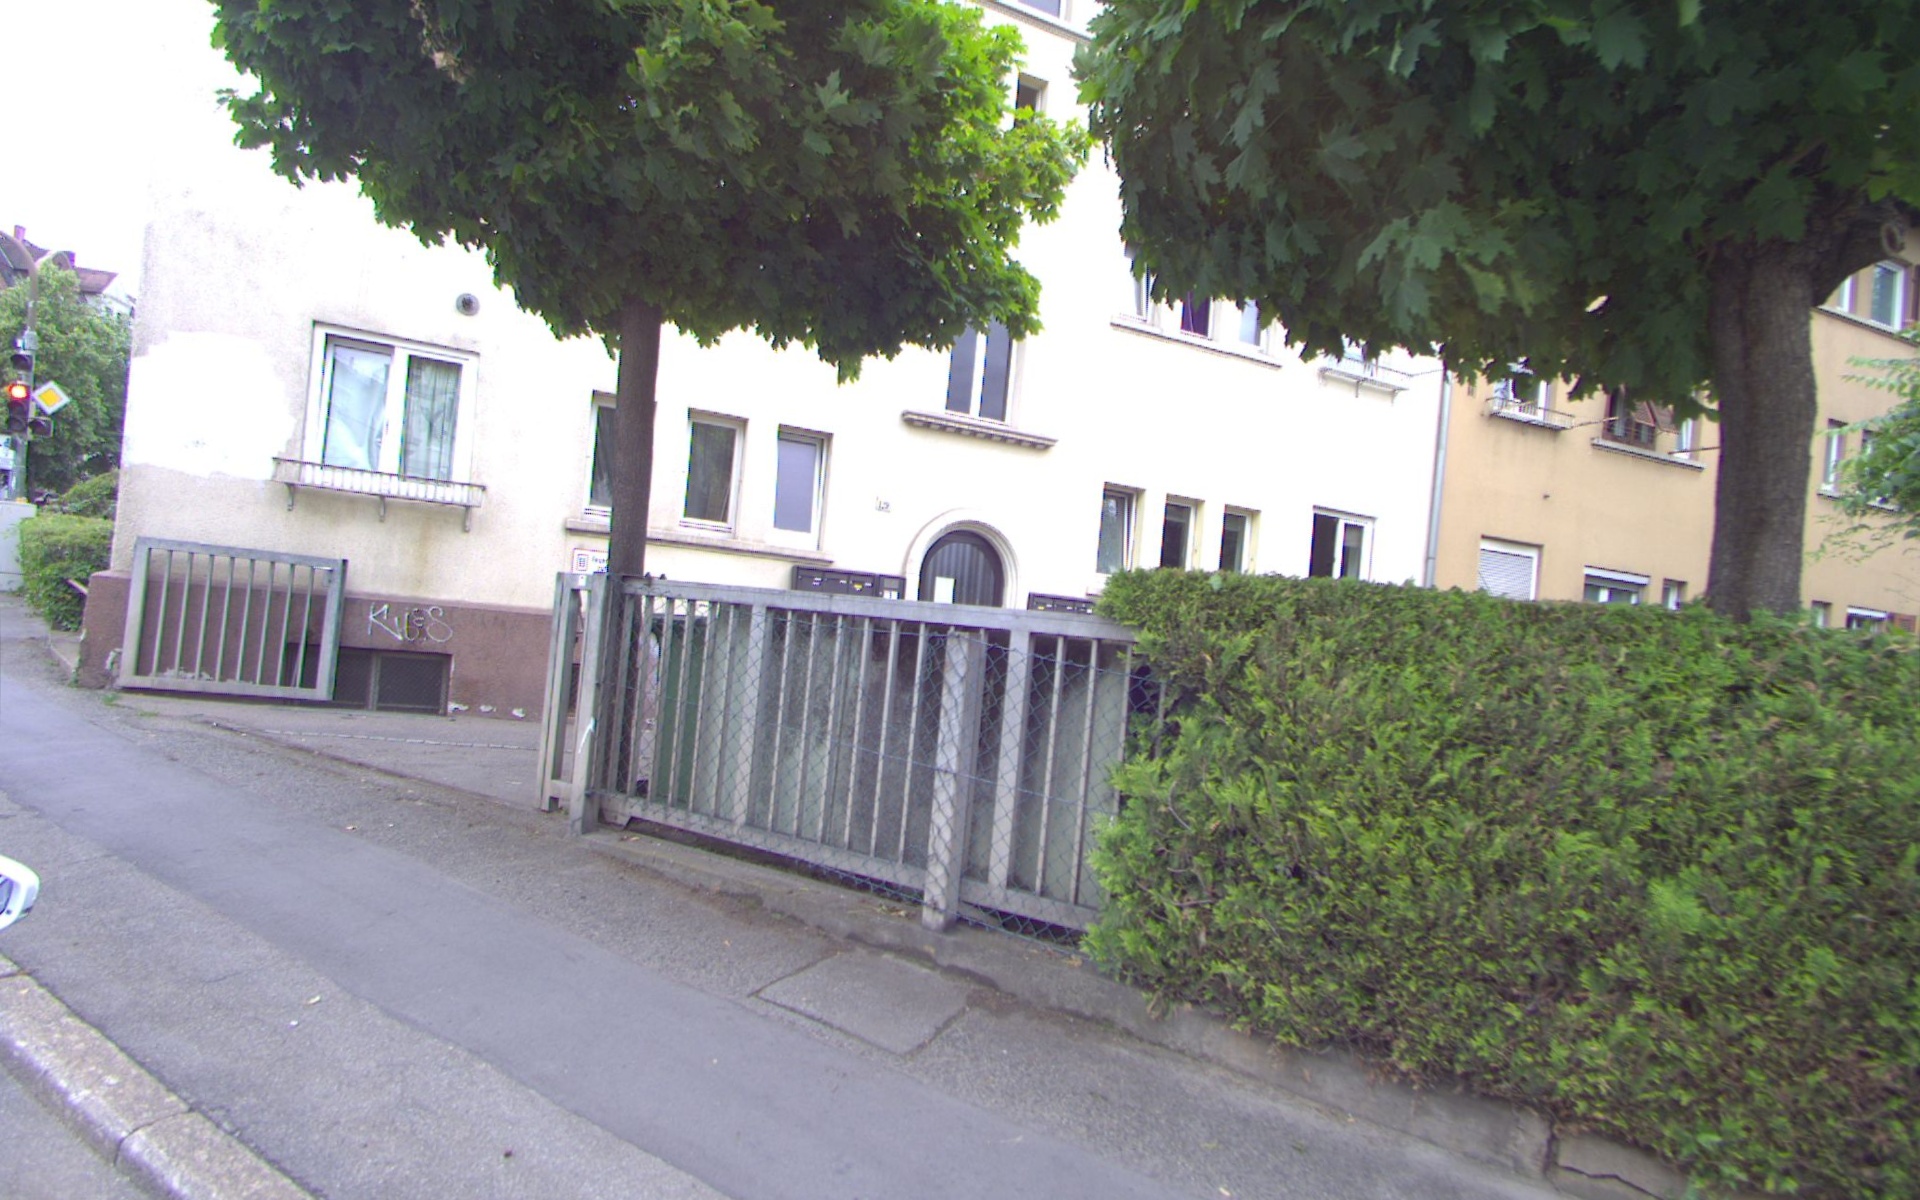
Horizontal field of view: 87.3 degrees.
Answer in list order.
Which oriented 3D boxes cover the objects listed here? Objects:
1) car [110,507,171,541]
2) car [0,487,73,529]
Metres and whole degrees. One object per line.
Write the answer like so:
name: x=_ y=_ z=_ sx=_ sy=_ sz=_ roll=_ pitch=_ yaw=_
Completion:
car: x=-64.912 y=-5.975 z=79.759 sx=1.969 sy=2.036 sz=3.992 roll=9 pitch=-3 yaw=-14
car: x=-62.240 y=-6.138 z=67.721 sx=1.969 sy=2.036 sz=3.992 roll=9 pitch=-3 yaw=-14
